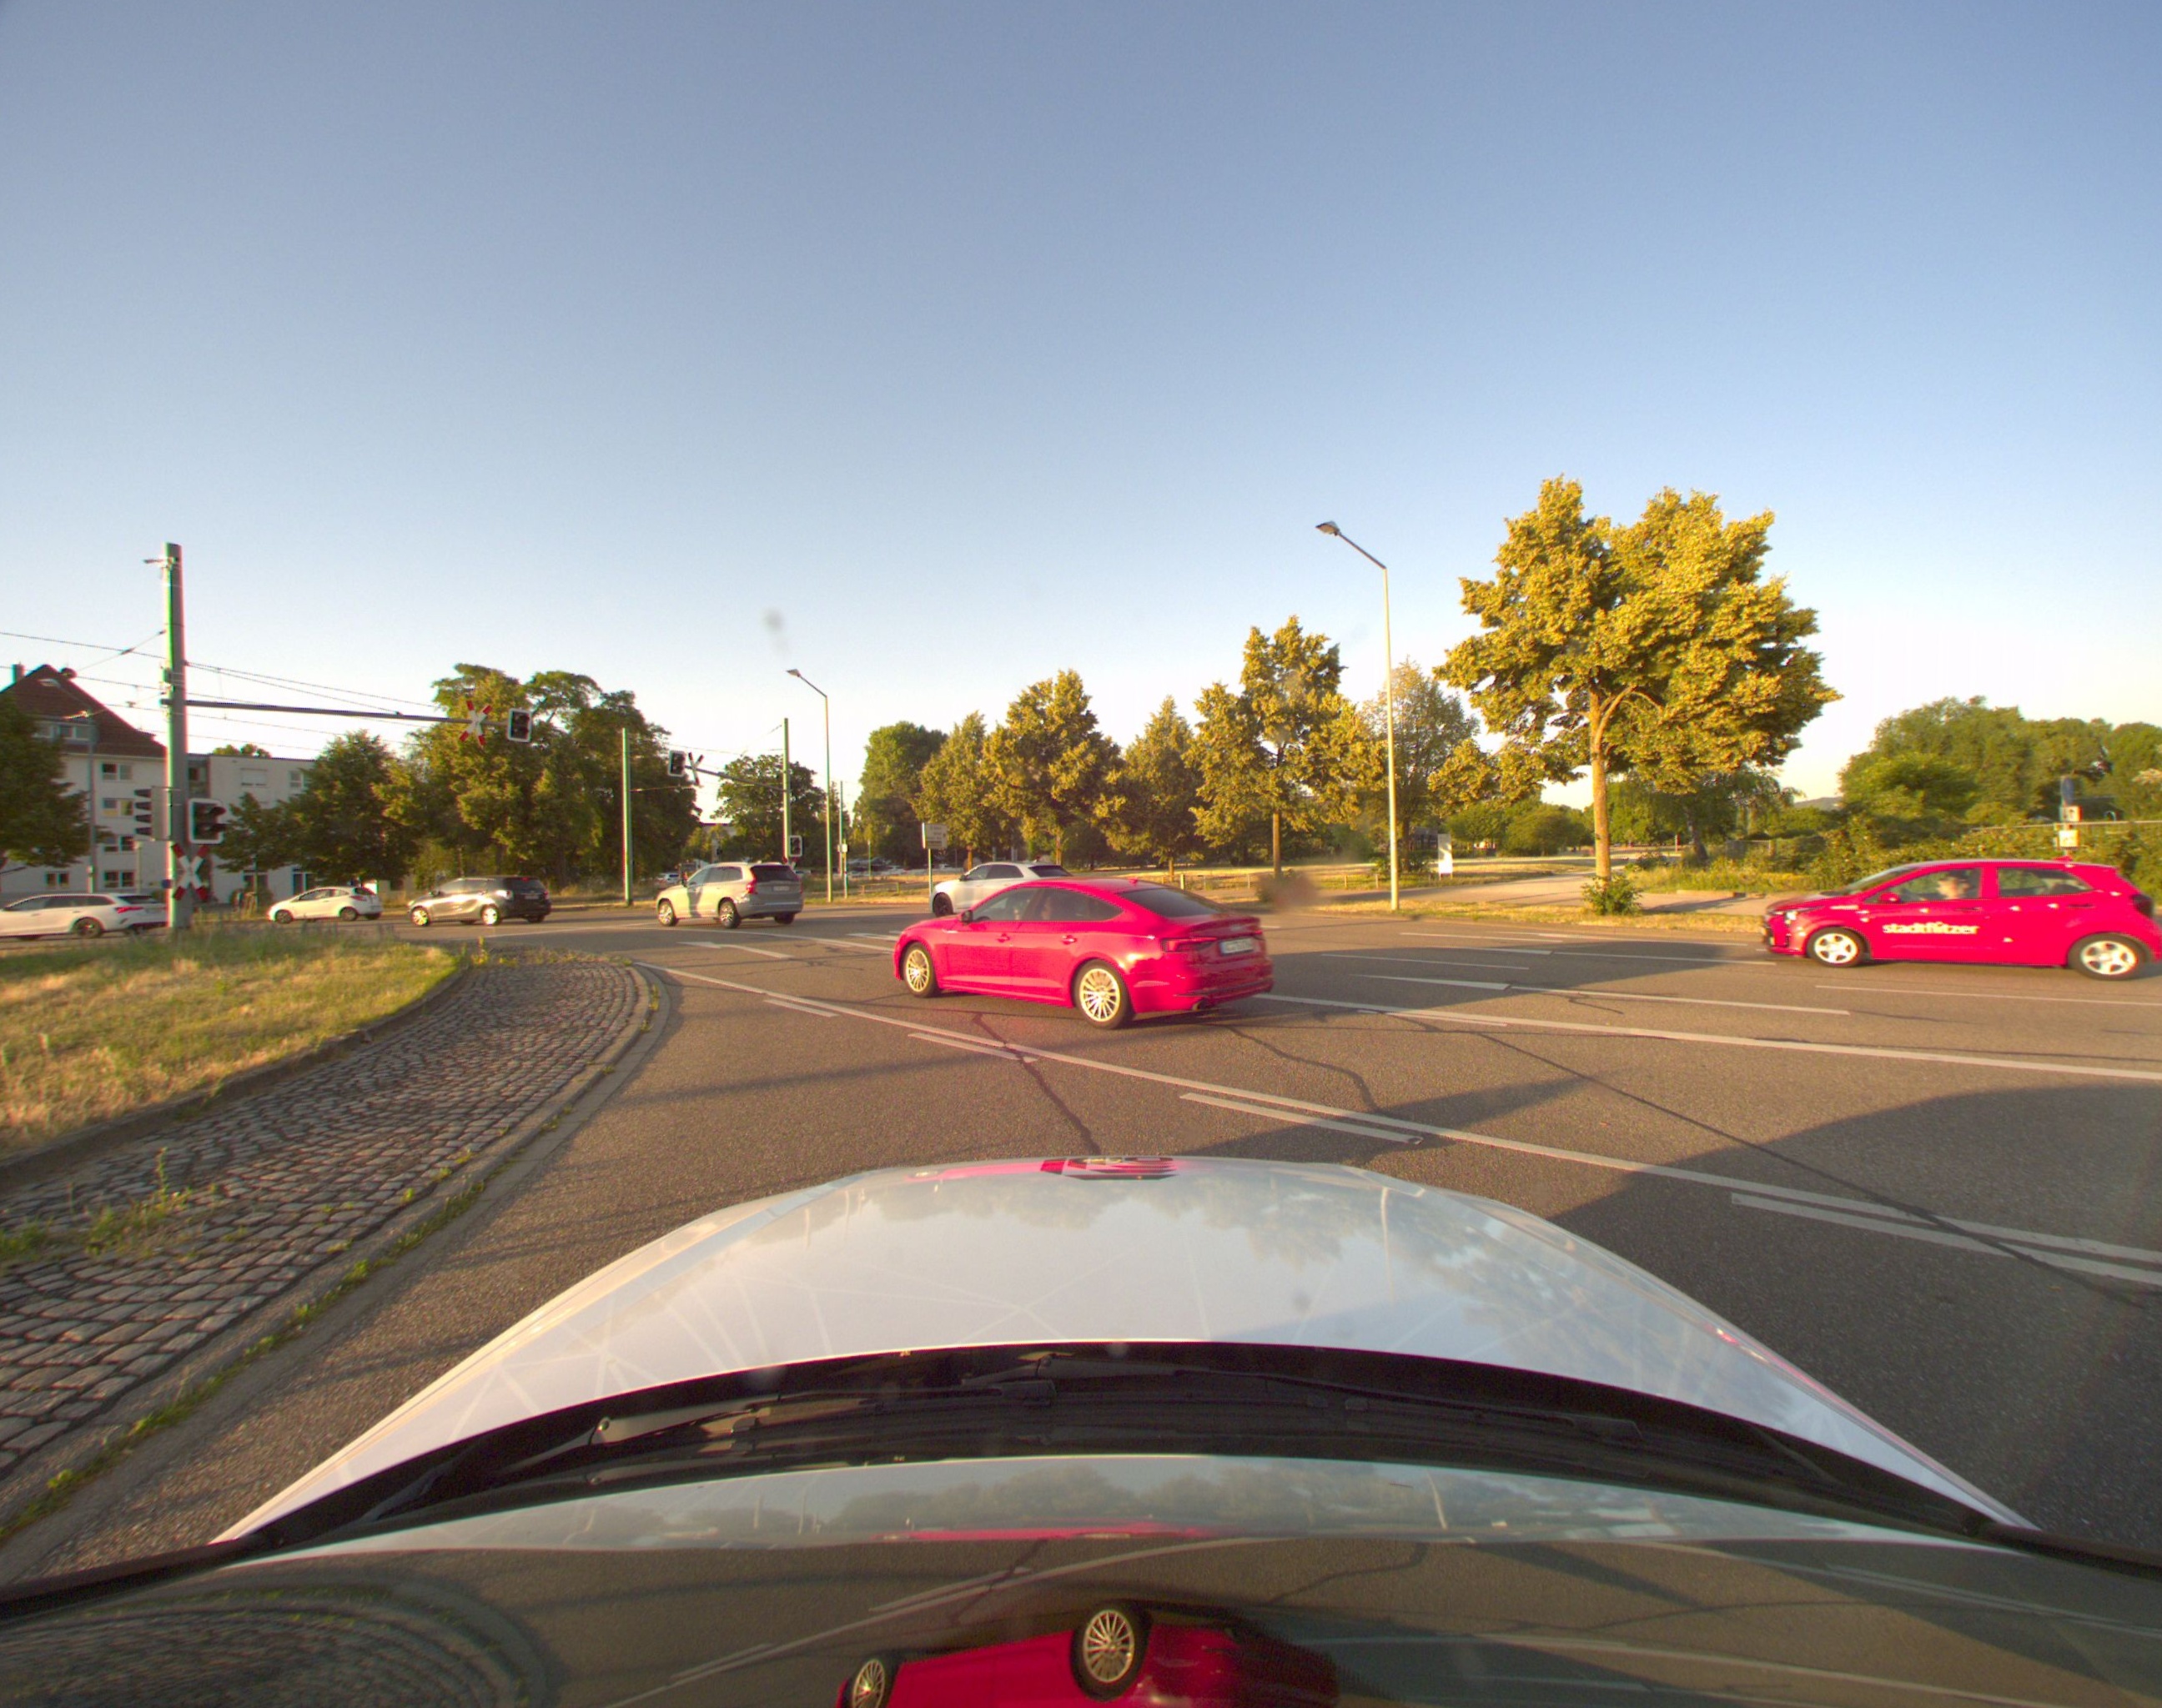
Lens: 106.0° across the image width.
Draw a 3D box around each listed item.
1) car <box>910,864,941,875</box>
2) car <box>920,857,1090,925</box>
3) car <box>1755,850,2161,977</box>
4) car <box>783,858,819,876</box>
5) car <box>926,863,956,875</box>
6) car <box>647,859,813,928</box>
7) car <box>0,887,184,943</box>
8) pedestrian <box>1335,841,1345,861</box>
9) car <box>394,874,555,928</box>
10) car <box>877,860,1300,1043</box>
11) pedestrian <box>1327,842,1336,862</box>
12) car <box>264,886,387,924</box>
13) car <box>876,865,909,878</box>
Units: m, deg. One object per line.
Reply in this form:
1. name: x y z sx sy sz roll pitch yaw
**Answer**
1. car: -21.954 2.196 114.803 3.948 1.551 2.013 -2 0 33
2. car: -2.244 0.978 23.236 4.878 1.710 1.926 -1 0 40
3. car: 11.686 0.742 11.152 3.585 1.483 1.738 -2 -2 34
4. car: -33.532 1.567 97.622 3.948 2.098 2.013 -2 0 34
5. car: -20.025 2.133 116.531 3.948 1.551 2.013 -2 0 33
6. car: -9.912 1.078 22.867 4.857 1.754 1.935 -2 -1 33
7. car: -32.013 1.926 25.803 4.543 1.448 1.718 -2 0 -16
8. pedestrian: 21.153 -0.248 66.538 0.523 1.626 0.624 -2 0 37
9. car: -19.838 1.526 26.679 4.410 1.633 1.810 -1 -1 13
10. car: -0.131 0.827 8.910 4.523 1.460 1.857 -1 0 42
11. pedestrian: 20.534 -0.160 66.798 0.526 1.626 0.584 -2 -1 39
12. car: -31.924 2.146 34.500 3.477 1.443 1.548 -1 -1 -12
13. car: -25.154 2.361 108.709 3.948 1.551 2.013 -2 0 33
